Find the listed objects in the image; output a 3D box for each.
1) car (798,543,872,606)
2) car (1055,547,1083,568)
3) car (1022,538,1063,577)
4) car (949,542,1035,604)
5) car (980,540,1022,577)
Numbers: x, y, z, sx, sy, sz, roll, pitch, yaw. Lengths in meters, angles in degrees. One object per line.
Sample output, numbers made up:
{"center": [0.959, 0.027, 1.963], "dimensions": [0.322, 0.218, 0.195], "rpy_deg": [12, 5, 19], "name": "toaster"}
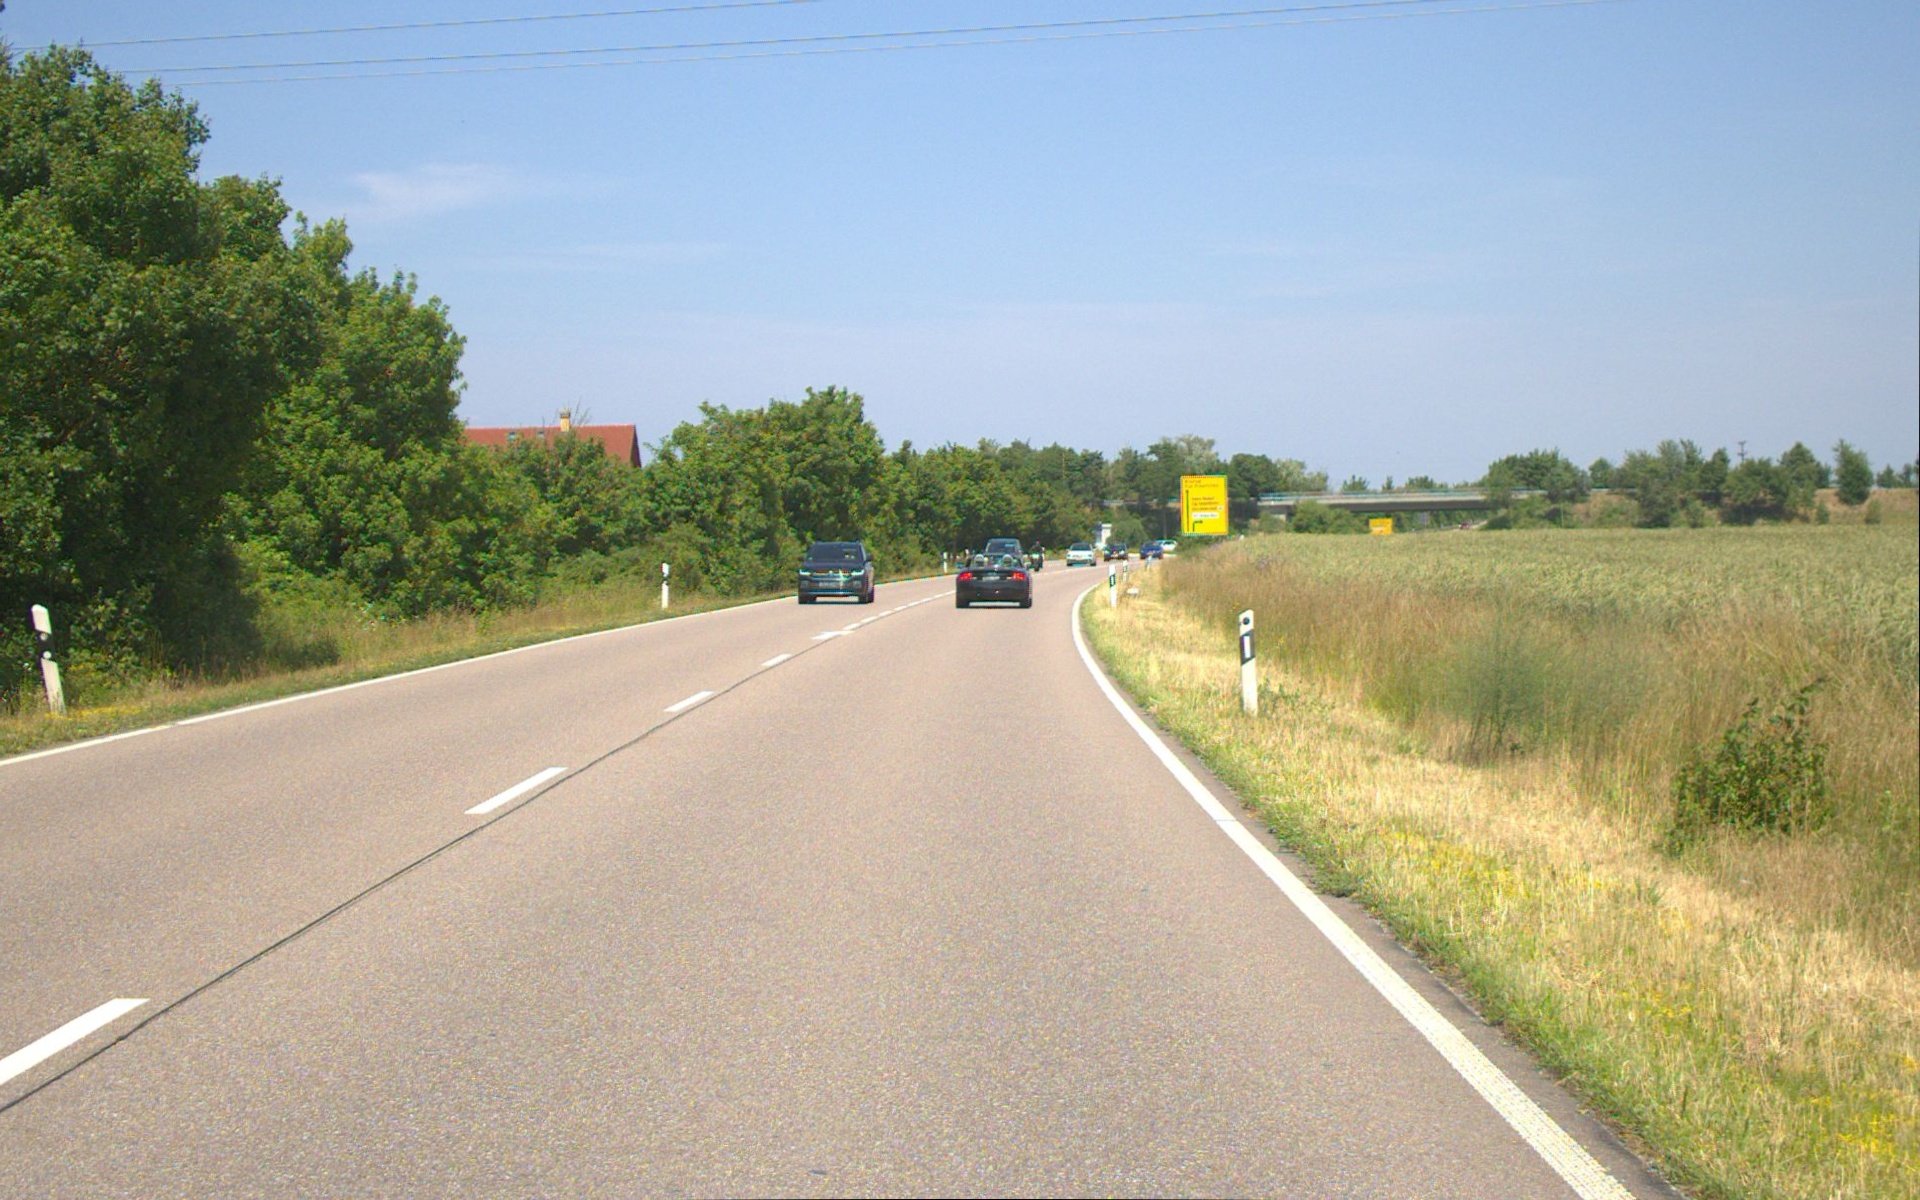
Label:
{"center": [-3.161, -0.663, 87.430], "dimensions": [1.699, 1.561, 3.671], "rpy_deg": [0, 1, 1], "name": "car"}
{"center": [7.002, -2.730, 220.504], "dimensions": [1.707, 1.377, 3.819], "rpy_deg": [0, 1, 3], "name": "car"}
{"center": [4.403, -2.262, 183.228], "dimensions": [1.867, 2.007, 3.999], "rpy_deg": [1, 1, 5], "name": "car"}
{"center": [0.785, -0.652, 82.029], "dimensions": [1.814, 1.436, 4.000], "rpy_deg": [1, 1, 4], "name": "car"}
{"center": [1.975, -1.981, 163.472], "dimensions": [1.819, 1.695, 5.001], "rpy_deg": [0, 1, 3], "name": "car"}
